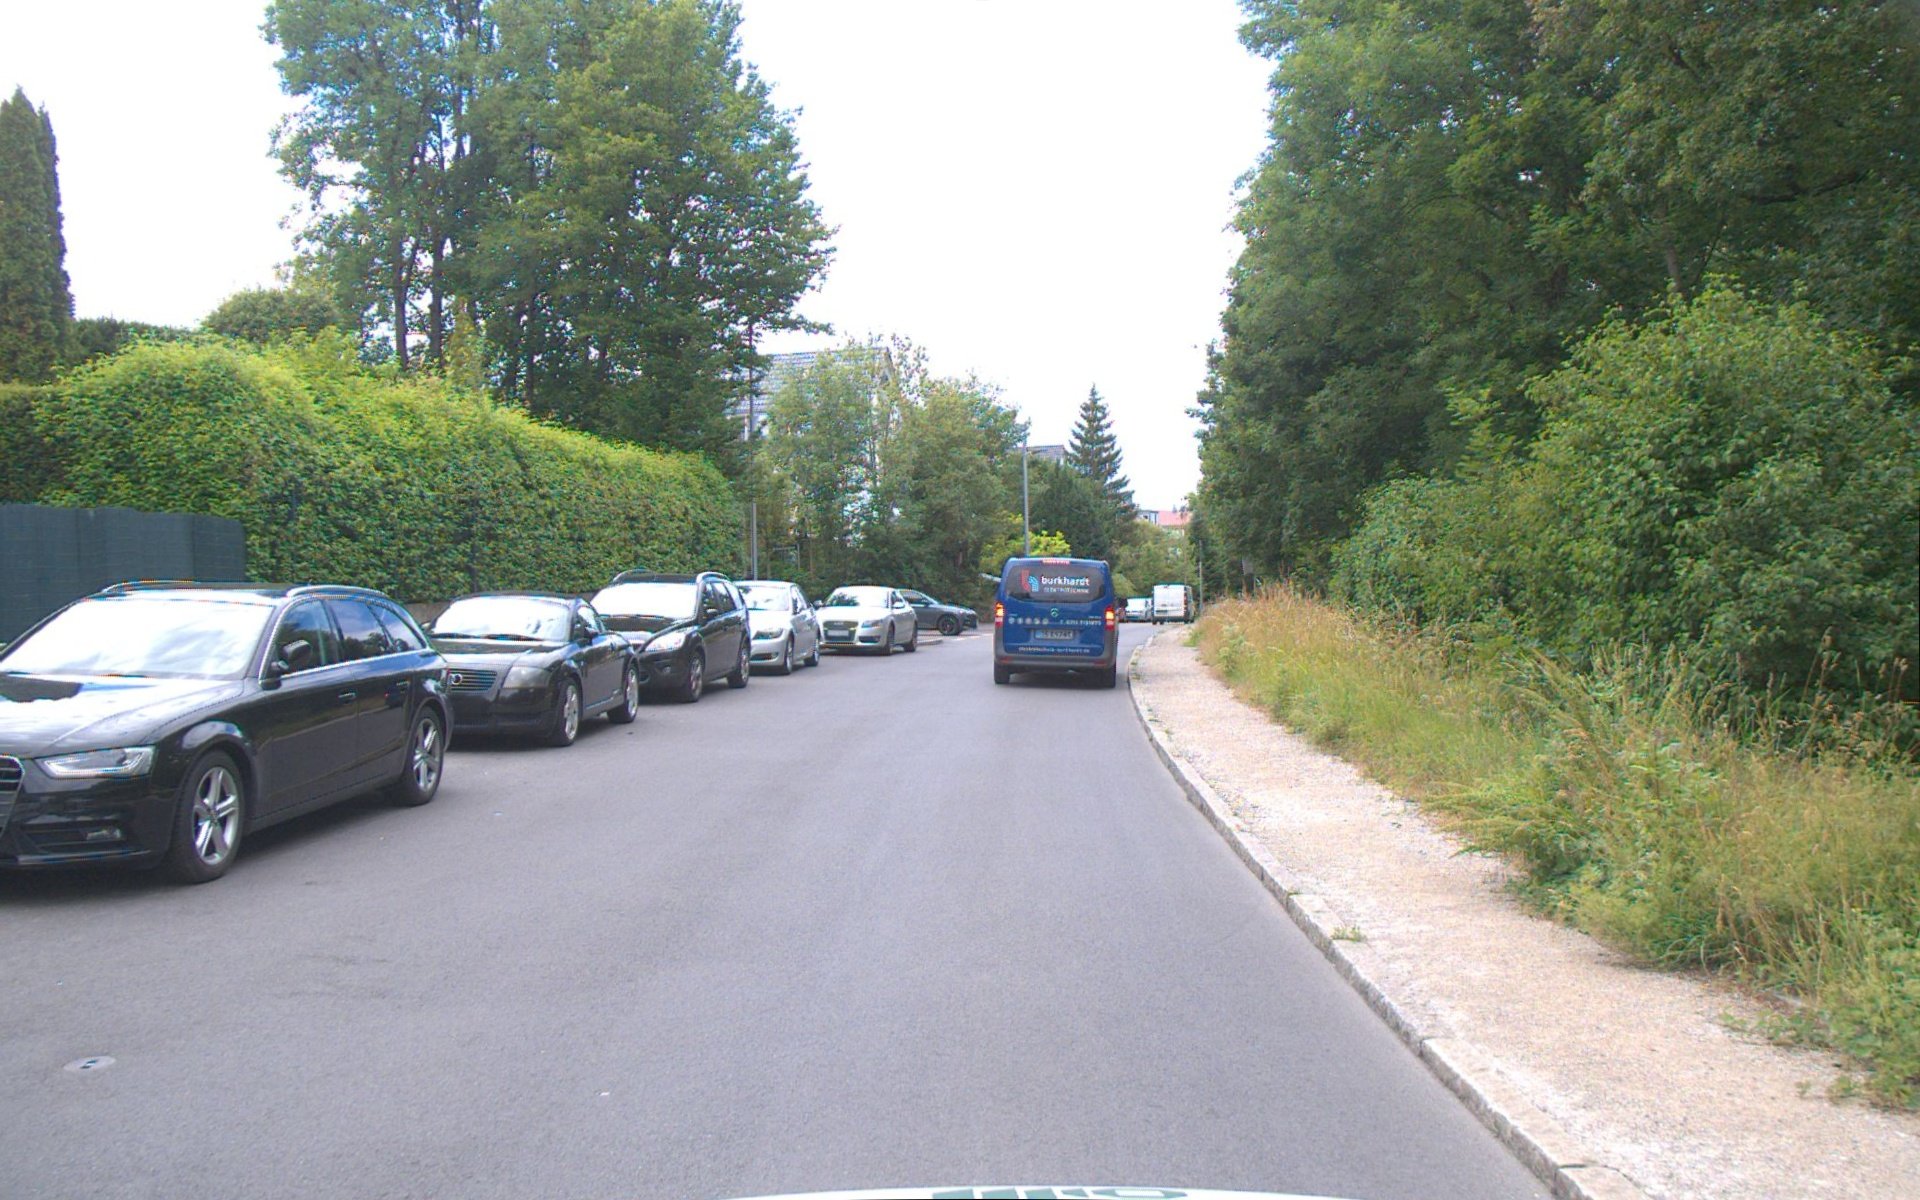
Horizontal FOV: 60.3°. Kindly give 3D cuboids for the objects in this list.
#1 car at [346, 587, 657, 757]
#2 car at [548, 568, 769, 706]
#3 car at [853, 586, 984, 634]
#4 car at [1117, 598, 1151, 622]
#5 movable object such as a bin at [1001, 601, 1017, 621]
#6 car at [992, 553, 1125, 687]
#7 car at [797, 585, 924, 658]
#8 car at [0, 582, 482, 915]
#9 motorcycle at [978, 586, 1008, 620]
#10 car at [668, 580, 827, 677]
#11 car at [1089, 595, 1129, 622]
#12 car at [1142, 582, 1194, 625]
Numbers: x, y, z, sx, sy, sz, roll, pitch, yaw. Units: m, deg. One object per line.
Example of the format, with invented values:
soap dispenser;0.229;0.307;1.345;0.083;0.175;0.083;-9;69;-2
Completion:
car;-4.139;0.574;15.625;1.676;1.364;4.109;1;0;1
car;-3.745;0.408;21.359;1.621;1.560;4.477;1;0;5
car;-1.284;0.319;53.005;4.080;1.472;1.741;1;0;2
car;10.851;0.619;102.775;1.711;1.429;4.003;1;0;12
movable object such as a bin;2.337;0.525;78.164;0.578;0.925;0.701;1;0;17
car;1.607;0.267;26.012;1.895;1.913;4.533;0;0;5
car;-2.020;0.405;34.827;1.792;1.398;4.449;1;0;8
car;-4.324;0.609;9.380;1.682;1.409;4.665;0;0;2
motorcycle;1.522;0.138;76.182;0.792;1.511;2.898;1;0;13
car;-3.310;0.402;26.563;1.738;1.398;4.343;1;0;3
car;8.356;0.486;92.487;1.600;1.429;4.003;1;0;15
car;10.658;0.171;84.471;2.159;2.100;6.140;0;0;12
